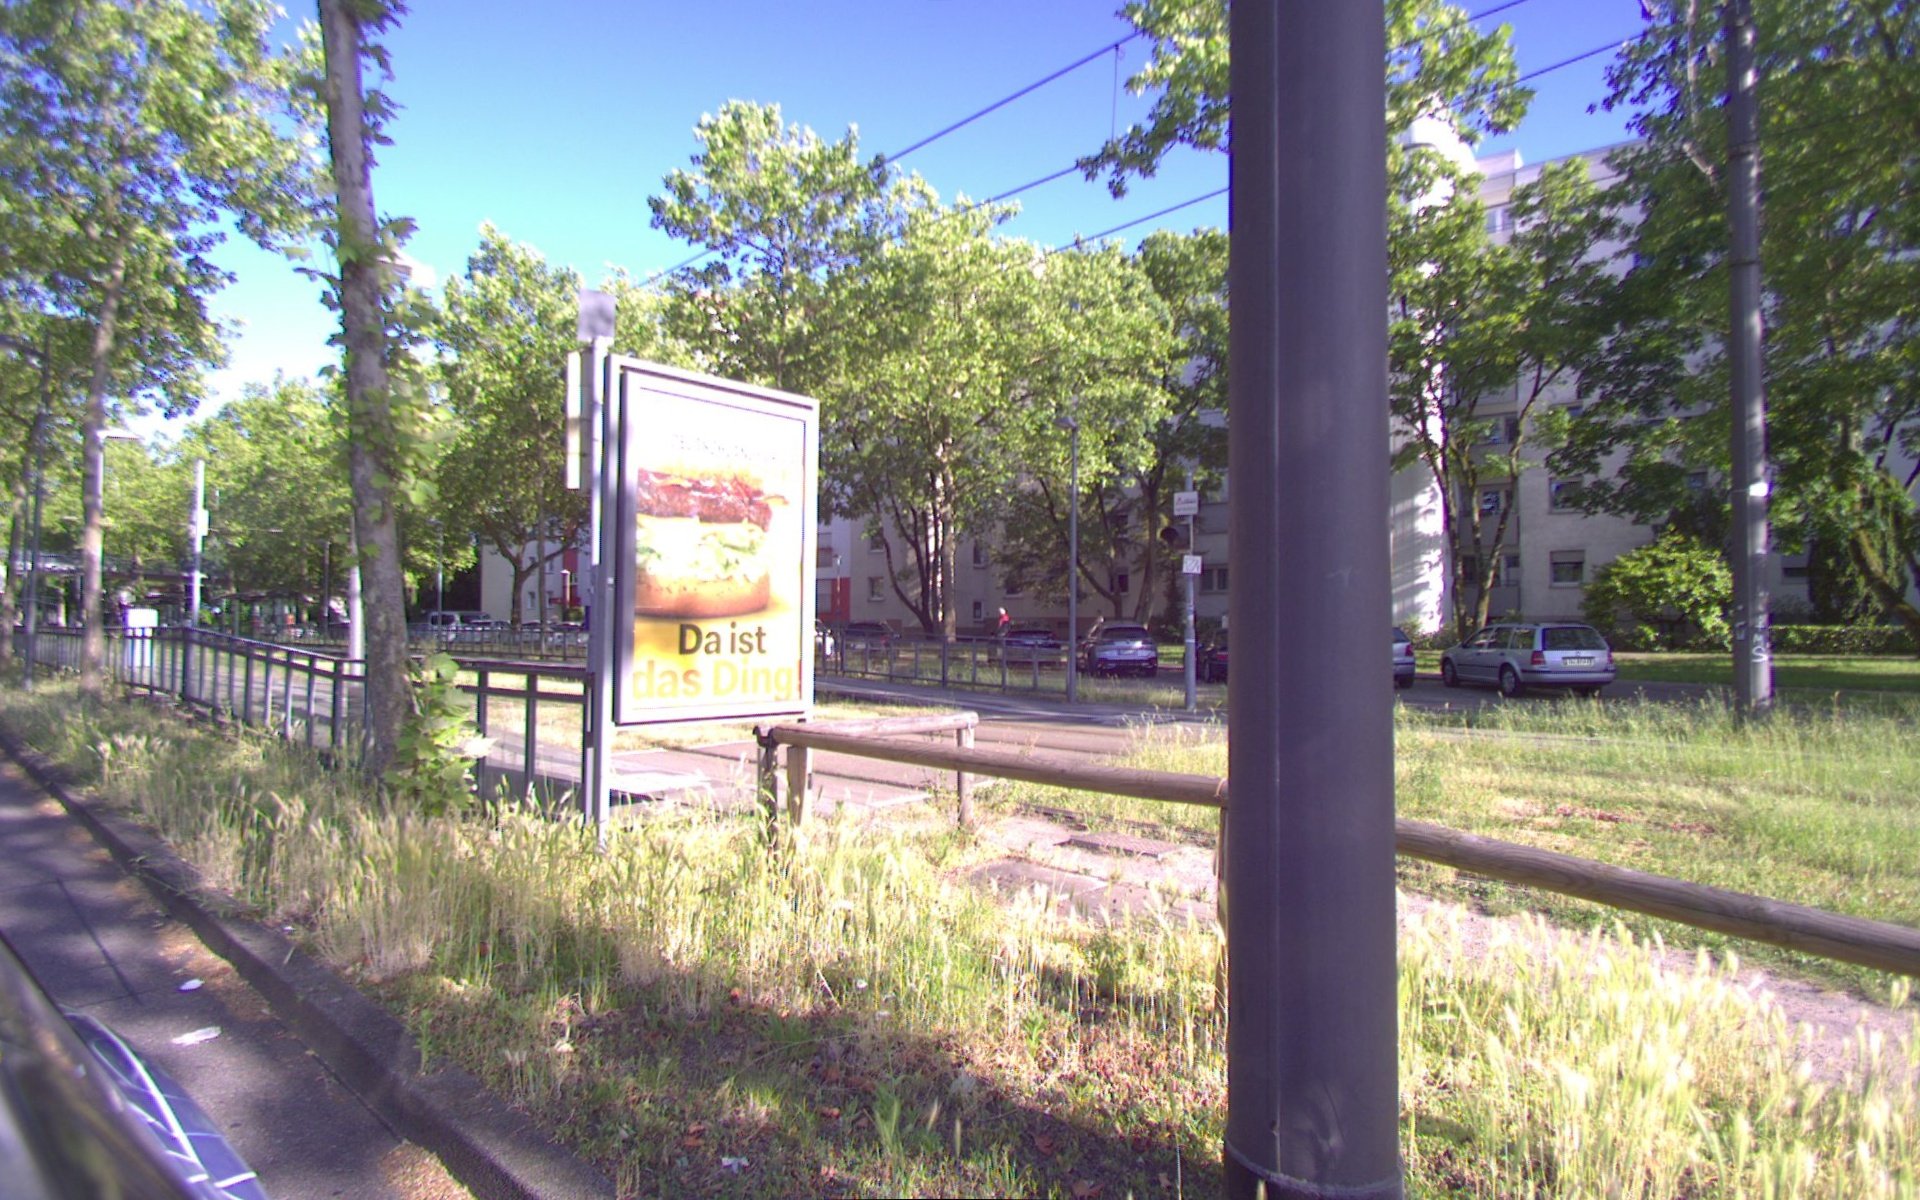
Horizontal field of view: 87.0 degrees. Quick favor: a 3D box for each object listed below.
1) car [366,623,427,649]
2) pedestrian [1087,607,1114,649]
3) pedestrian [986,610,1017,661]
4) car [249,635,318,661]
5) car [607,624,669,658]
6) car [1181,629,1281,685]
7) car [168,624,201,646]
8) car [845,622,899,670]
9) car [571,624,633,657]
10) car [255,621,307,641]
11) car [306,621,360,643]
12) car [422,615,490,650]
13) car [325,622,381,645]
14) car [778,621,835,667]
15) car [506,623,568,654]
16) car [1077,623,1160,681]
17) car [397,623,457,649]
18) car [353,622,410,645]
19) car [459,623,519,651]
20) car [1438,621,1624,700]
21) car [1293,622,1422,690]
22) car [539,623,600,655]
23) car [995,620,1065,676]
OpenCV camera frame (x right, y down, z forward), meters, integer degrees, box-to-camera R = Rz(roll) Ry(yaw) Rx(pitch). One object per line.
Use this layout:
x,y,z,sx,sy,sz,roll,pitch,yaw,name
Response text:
-33.690,2.111,60.599,1.633,1.452,3.805,-1,-1,-2,car
5.685,1.122,41.000,0.786,1.635,0.755,-1,0,39,pedestrian
1.459,1.232,35.546,0.786,1.745,0.755,-1,0,39,pedestrian
-41.429,2.923,61.952,4.623,1.522,1.640,-1,-1,29,car
-14.058,1.763,44.334,1.633,1.366,3.805,-1,-1,-2,car
6.680,1.376,25.276,1.445,1.234,3.815,-1,-1,0,car
-58.615,2.643,76.482,2.817,1.569,1.558,-2,-1,44,car
-2.971,1.525,34.647,1.633,1.522,3.805,-1,-1,-2,car
-16.621,1.853,47.157,1.633,1.452,3.805,-1,-1,-2,car
-53.047,2.398,79.149,1.633,1.452,3.805,-1,-1,-2,car
-44.975,2.284,72.677,1.633,1.452,3.805,-1,-1,-2,car
-28.448,1.822,57.251,1.814,1.888,4.323,-1,-1,-2,car
-40.834,2.223,68.188,1.633,1.452,3.805,-1,-1,-2,car
-5.561,1.567,37.016,1.633,1.522,3.805,-1,-1,-2,car
-21.332,1.937,51.181,1.633,1.452,3.805,-1,-1,-2,car
4.223,1.363,27.518,1.633,1.413,3.803,-1,-1,0,car
-31.327,2.080,59.596,1.633,1.452,3.805,-1,-1,-2,car
-37.881,2.169,66.375,1.633,1.452,3.805,-1,-1,-2,car
-25.866,1.997,55.657,1.633,1.452,3.805,-1,-1,-2,car
11.480,1.160,20.663,1.559,1.413,3.906,-1,-1,0,car
9.149,1.237,23.589,1.559,1.413,3.638,-1,-1,0,car
-19.041,1.895,49.537,1.633,1.452,3.805,-1,-1,-2,car
1.989,1.353,29.665,1.633,1.522,3.805,-1,-1,-2,car
